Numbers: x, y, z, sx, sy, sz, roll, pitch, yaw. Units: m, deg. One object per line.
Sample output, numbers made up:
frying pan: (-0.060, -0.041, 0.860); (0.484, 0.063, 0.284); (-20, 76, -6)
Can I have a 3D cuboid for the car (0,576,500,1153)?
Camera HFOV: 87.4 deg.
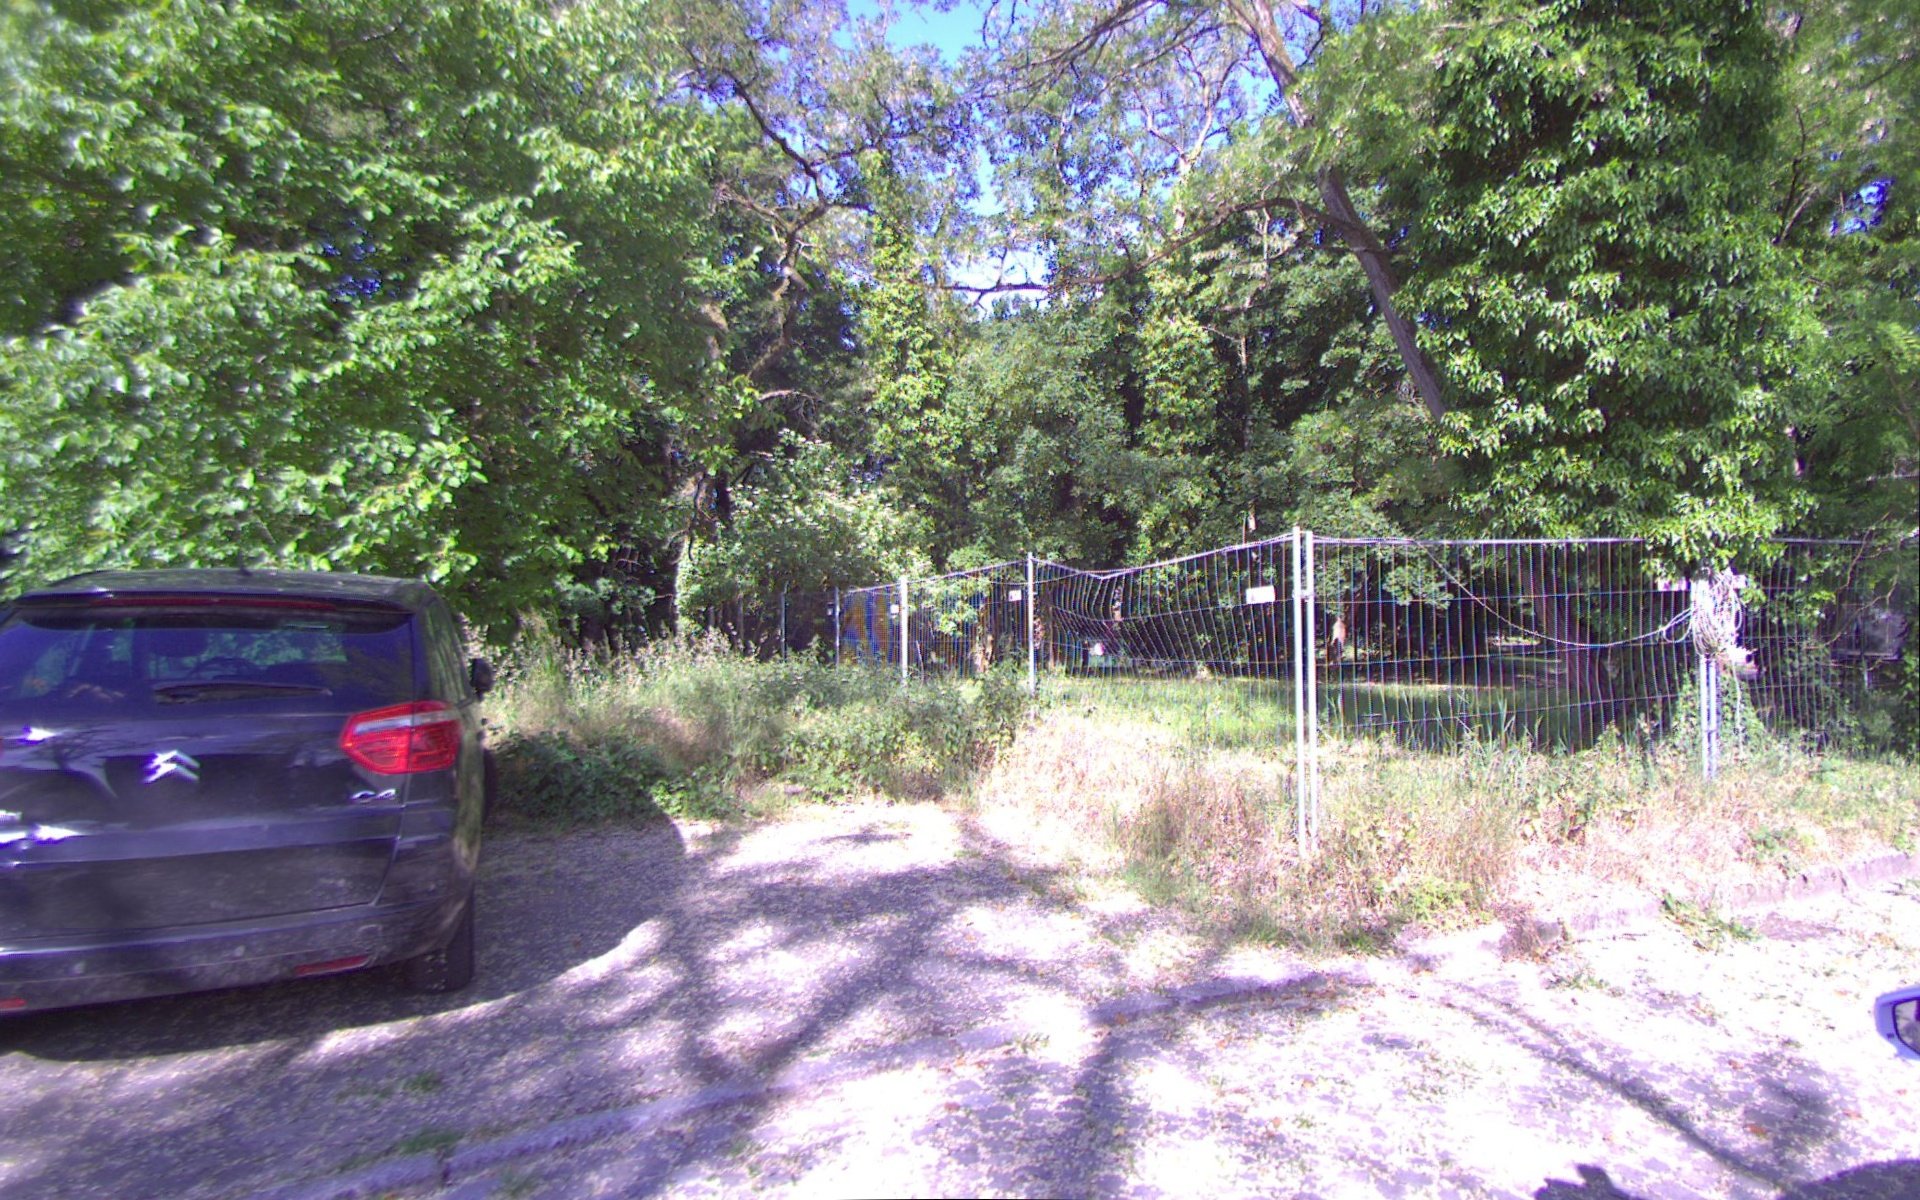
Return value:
car: (-3.288, 0.731, 4.997); (1.805, 1.611, 4.246); (0, 2, -25)
